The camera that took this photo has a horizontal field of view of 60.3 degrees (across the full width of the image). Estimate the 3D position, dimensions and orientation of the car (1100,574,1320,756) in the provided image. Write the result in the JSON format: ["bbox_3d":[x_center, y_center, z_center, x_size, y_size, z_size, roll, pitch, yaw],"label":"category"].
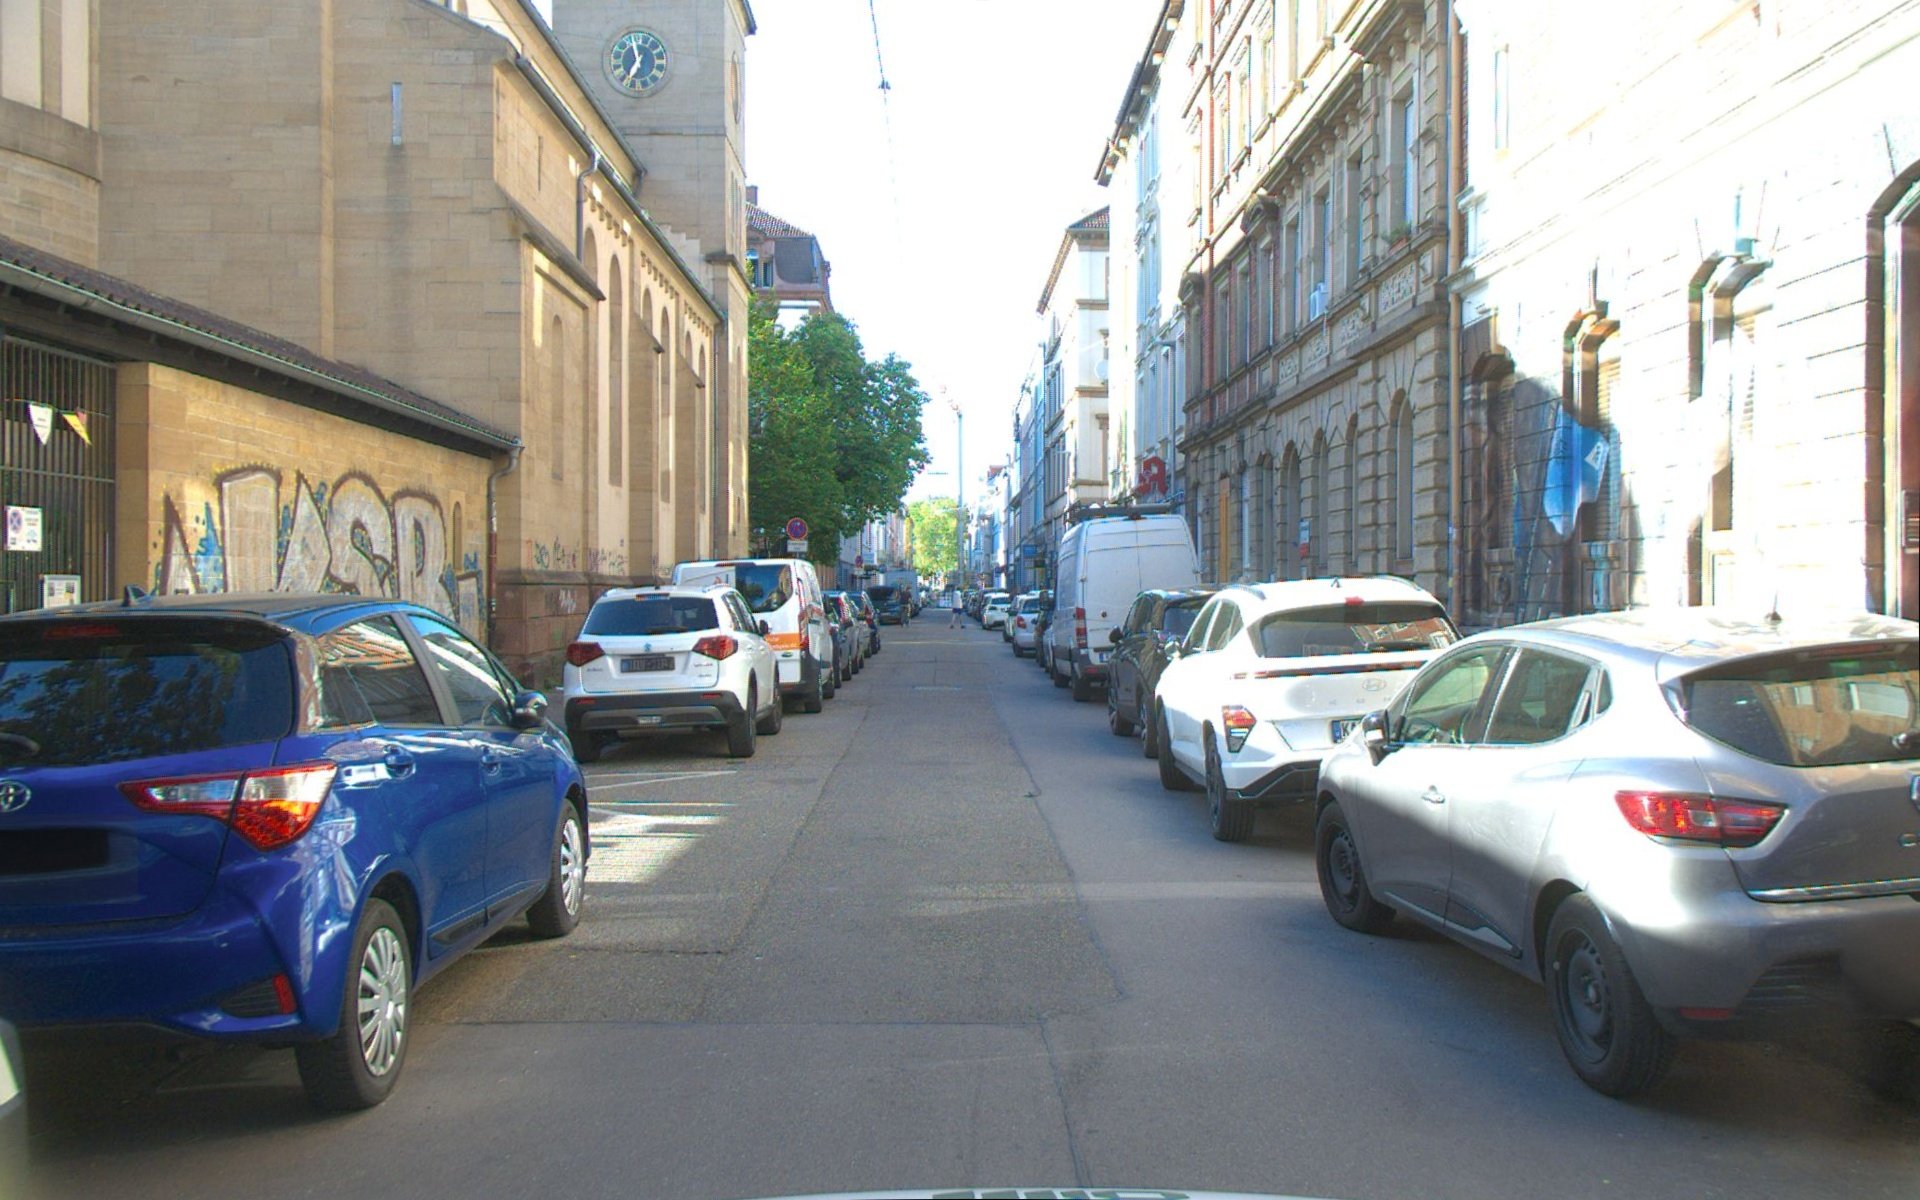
[{"bbox_3d":[2.488,0.594,17.326,1.653,1.671,3.924,1,0,-1],"label":"car"}]

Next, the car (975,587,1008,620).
[{"bbox_3d":[1.724,0.167,91.303,1.733,1.771,4.000,1,0,0],"label":"car"}]

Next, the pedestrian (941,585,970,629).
[{"bbox_3d":[-0.193,0.305,71.450,0.999,1.875,0.776,1,0,-33],"label":"pedestrian"}]

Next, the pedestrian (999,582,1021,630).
[{"bbox_3d":[1.989,0.230,65.761,0.669,1.875,0.692,1,0,-12],"label":"pedestrian"}]

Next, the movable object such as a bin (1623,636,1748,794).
[{"bbox_3d":[5.237,0.811,11.953,0.539,1.071,0.600,-2,0,-19],"label":"movable object such as a bin"}]

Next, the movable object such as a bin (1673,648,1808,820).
[{"bbox_3d":[5.212,0.871,11.051,0.543,1.071,0.596,-3,0,-34],"label":"movable object such as a bin"}]

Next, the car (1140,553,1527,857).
[{"bbox_3d":[2.436,0.627,11.869,1.771,1.719,4.214,2,0,0],"label":"car"}]

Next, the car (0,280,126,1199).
[{"bbox_3d":[-2.490,0.439,0.871,1.807,1.895,4.465,0,1,0],"label":"car"}]

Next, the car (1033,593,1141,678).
[{"bbox_3d":[2.465,0.659,33.063,1.743,1.512,4.359,2,0,-1],"label":"car"}]

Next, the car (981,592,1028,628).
[{"bbox_3d":[1.875,0.406,70.745,1.859,1.514,3.869,1,0,0],"label":"car"}]

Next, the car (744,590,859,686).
[{"bbox_3d":[-2.623,0.589,28.148,1.582,1.477,3.950,-1,0,-1],"label":"car"}]

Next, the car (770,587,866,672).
[{"bbox_3d":[-2.755,0.538,32.778,1.639,1.586,3.999,0,0,-1],"label":"car"}]

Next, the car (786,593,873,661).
[{"bbox_3d":[-2.976,0.586,38.435,1.537,1.422,3.809,-3,0,2],"label":"car"}]

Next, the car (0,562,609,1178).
[{"bbox_3d":[-2.497,0.662,6.006,1.653,1.502,3.859,-1,0,-1],"label":"car"}]

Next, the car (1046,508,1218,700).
[{"bbox_3d":[2.571,0.031,26.174,2.026,2.656,5.887,1,0,-1],"label":"car"}]

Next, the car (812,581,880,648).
[{"bbox_3d":[-2.956,0.350,43.600,1.567,1.642,3.807,-2,0,-1],"label":"car"}]

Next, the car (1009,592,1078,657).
[{"bbox_3d":[2.095,0.583,42.442,1.571,1.531,4.000,2,0,1],"label":"car"}]

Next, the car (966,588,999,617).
[{"bbox_3d":[1.424,0.141,104.731,1.953,1.660,4.000,3,0,0],"label":"car"}]

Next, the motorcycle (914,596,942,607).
[{"bbox_3d":[-3.063,0.147,157.874,2.776,0.997,1.039,1,0,43],"label":"motorcycle"}]

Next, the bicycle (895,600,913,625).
[{"bbox_3d":[-2.468,0.561,72.790,0.724,1.062,1.859,1,0,0],"label":"bicycle"}]

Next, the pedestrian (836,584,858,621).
[{"bbox_3d":[-5.219,0.114,76.367,0.910,1.666,0.806,1,0,0],"label":"pedestrian"}]

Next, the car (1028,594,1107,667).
[{"bbox_3d":[2.394,0.654,37.573,1.537,1.521,3.653,2,0,0],"label":"car"}]

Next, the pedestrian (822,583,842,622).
[{"bbox_3d":[-6.165,0.115,79.656,0.910,1.817,0.806,1,0,0],"label":"pedestrian"}]

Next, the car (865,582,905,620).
[{"bbox_3d":[-3.731,0.027,82.631,1.837,1.828,4.000,1,0,0],"label":"car"}]

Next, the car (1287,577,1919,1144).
[{"bbox_3d":[2.627,0.739,6.590,1.541,1.551,3.905,3,0,-5],"label":"car"}]

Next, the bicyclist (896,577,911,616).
[{"bbox_3d":[-2.483,-0.158,72.777,0.593,1.717,0.885,1,0,-1],"label":"bicyclist"}]

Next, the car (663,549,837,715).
[{"bbox_3d":[-2.732,0.380,22.471,1.826,1.991,4.609,-1,0,-1],"label":"car"}]

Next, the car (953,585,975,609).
[{"bbox_3d":[0.325,-0.276,147.609,1.953,2.049,4.000,1,0,0],"label":"car"}]

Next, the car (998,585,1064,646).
[{"bbox_3d":[2.013,0.423,47.788,1.681,1.674,4.000,1,0,0],"label":"car"}]

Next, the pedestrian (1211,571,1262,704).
[{"bbox_3d":[3.874,0.520,23.138,0.626,1.803,0.679,2,0,11],"label":"pedestrian"}]

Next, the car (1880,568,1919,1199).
[{"bbox_3d":[2.683,0.717,1.531,1.504,1.539,3.680,0,0,-3],"label":"car"}]

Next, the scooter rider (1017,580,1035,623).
[{"bbox_3d":[2.586,0.074,64.969,0.636,1.671,0.684,1,0,5],"label":"scooter rider"}]

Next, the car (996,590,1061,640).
[{"bbox_3d":[2.144,0.460,52.833,1.682,1.514,3.867,1,0,-3],"label":"car"}]

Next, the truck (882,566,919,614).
[{"bbox_3d":[-4.323,-0.736,121.078,2.480,3.339,6.994,1,0,0],"label":"truck"}]

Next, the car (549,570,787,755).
[{"bbox_3d":[-2.791,0.550,16.611,1.707,1.614,3.868,1,0,-1],"label":"car"}]

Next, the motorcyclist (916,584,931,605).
[{"bbox_3d":[-3.470,-0.508,158.319,1.170,2.049,0.899,1,0,43],"label":"motorcyclist"}]

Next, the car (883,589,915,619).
[{"bbox_3d":[-3.839,0.251,104.507,1.837,1.828,4.000,1,0,0],"label":"car"}]
